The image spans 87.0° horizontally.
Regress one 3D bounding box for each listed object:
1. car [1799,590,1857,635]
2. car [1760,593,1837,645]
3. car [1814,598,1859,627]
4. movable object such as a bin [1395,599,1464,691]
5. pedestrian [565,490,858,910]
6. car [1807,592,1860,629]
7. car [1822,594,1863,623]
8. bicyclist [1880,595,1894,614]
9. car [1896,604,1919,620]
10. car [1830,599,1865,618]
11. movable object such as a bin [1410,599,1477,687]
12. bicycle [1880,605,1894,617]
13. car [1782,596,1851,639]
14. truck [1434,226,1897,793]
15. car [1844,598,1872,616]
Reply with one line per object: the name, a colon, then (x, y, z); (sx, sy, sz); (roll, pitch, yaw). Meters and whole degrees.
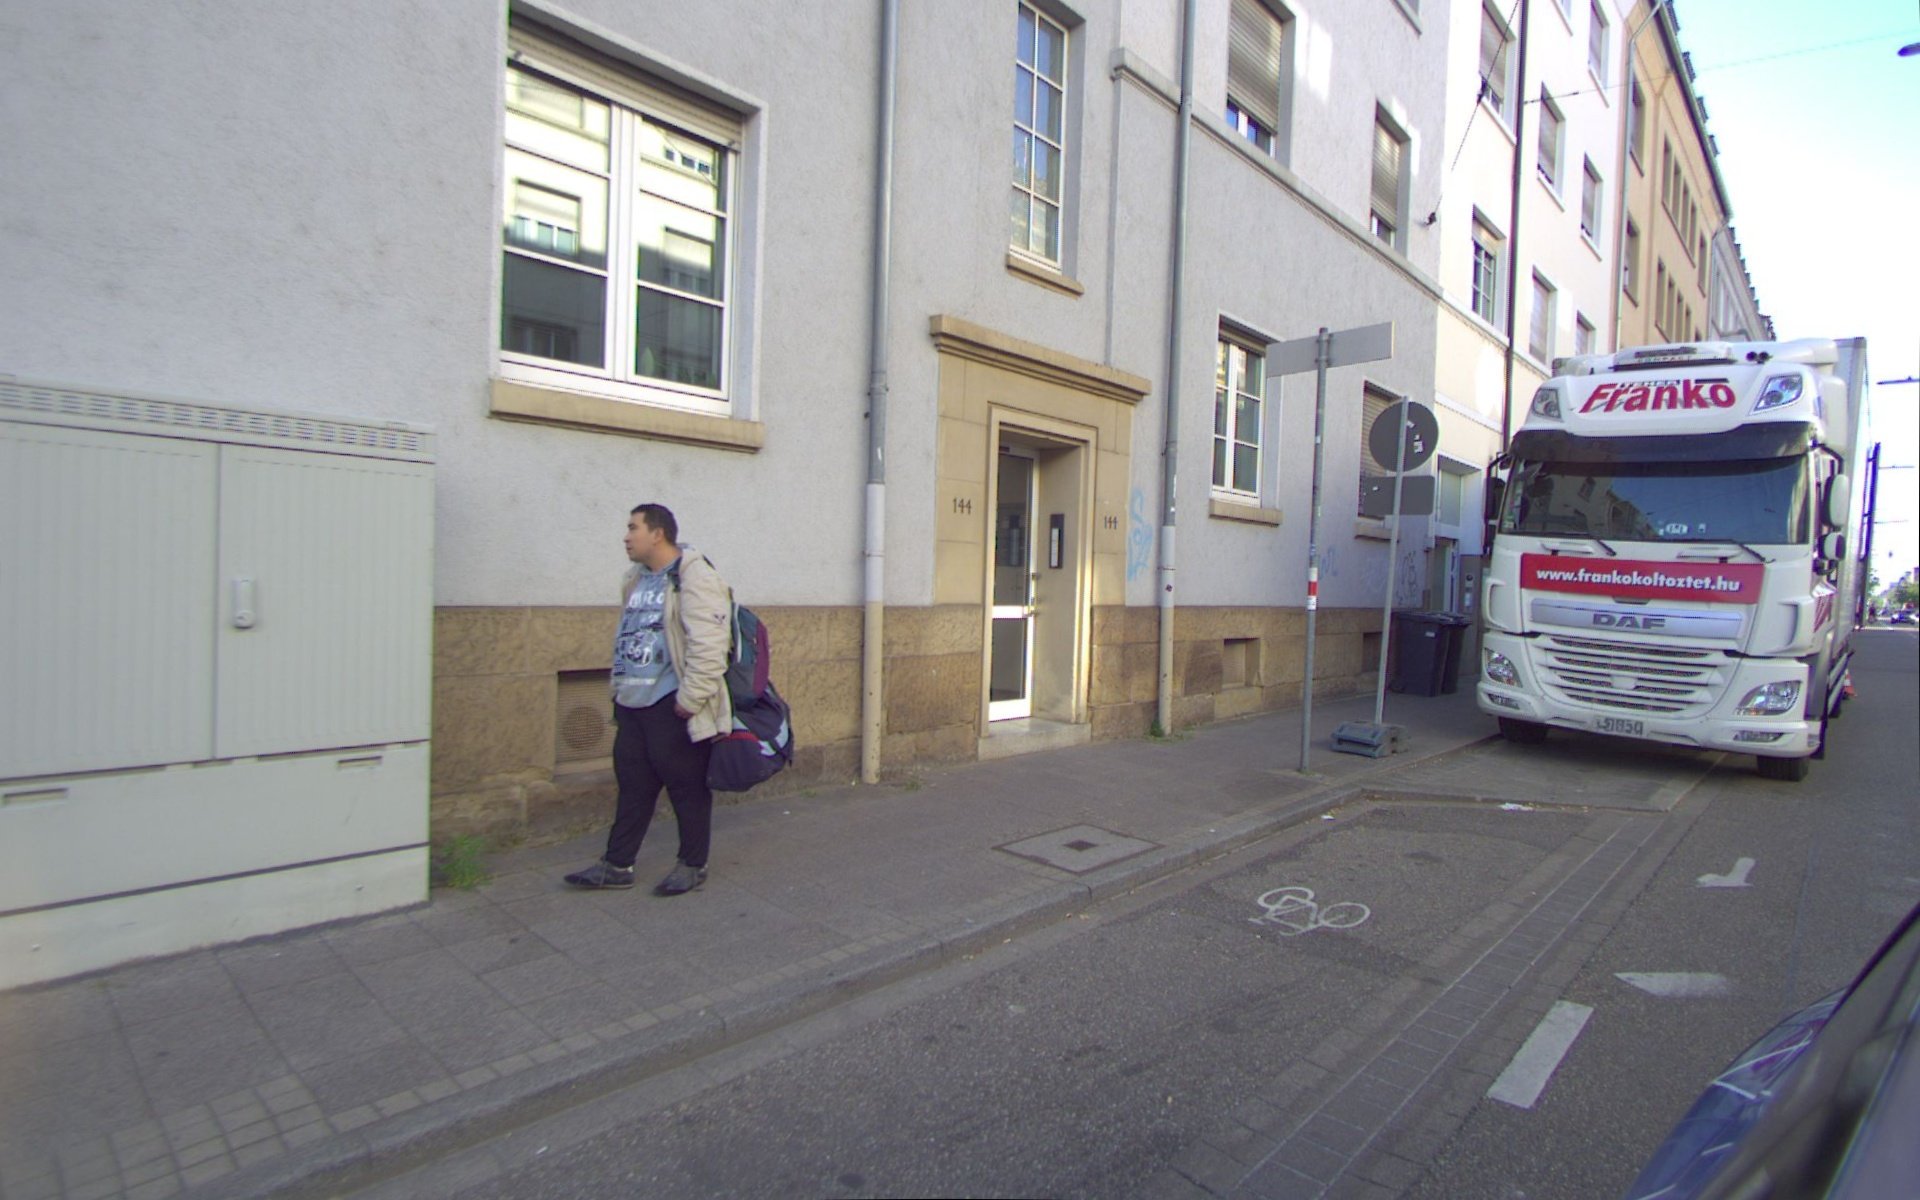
car: (37.487, 0.506, 43.667); (1.709, 1.714, 4.519); (5, 3, 42)
car: (26.744, 0.563, 32.256); (1.609, 1.481, 3.425); (5, 3, 43)
car: (49.059, 0.676, 56.617); (1.699, 1.523, 3.802); (3, 2, 43)
movable object such as a bin: (6.044, 0.557, 13.018); (0.657, 1.118, 0.534); (3, 1, 40)
pedestrian: (-1.062, 0.345, 4.321); (0.826, 1.552, 0.855); (6, 3, 44)
car: (45.324, 0.536, 52.472); (1.700, 1.719, 4.120); (5, 3, 45)
car: (52.550, 0.508, 60.254); (1.698, 1.610, 3.900); (3, 2, 42)
bicyclist: (73.717, 0.364, 80.449); (0.742, 1.508, 0.803); (3, 2, 45)
car: (93.699, 1.179, 99.762); (3.934, 1.394, 1.856); (0, 2, -45)
car: (72.595, 0.659, 82.791); (1.994, 1.437, 3.669); (4, 3, 43)
movable object such as a bin: (6.427, 0.553, 13.458); (0.657, 1.118, 0.534); (3, 1, 40)
bicycle: (73.611, 0.879, 80.385); (0.742, 0.866, 1.855); (3, 2, 44)
car: (33.188, 0.656, 39.168); (1.700, 1.470, 4.139); (5, 3, 44)
truck: (9.497, -0.704, 12.582); (2.861, 4.123, 11.592); (4, 2, 43)
car: (92.697, 0.692, 104.416); (1.994, 1.660, 3.938); (4, 3, 43)
